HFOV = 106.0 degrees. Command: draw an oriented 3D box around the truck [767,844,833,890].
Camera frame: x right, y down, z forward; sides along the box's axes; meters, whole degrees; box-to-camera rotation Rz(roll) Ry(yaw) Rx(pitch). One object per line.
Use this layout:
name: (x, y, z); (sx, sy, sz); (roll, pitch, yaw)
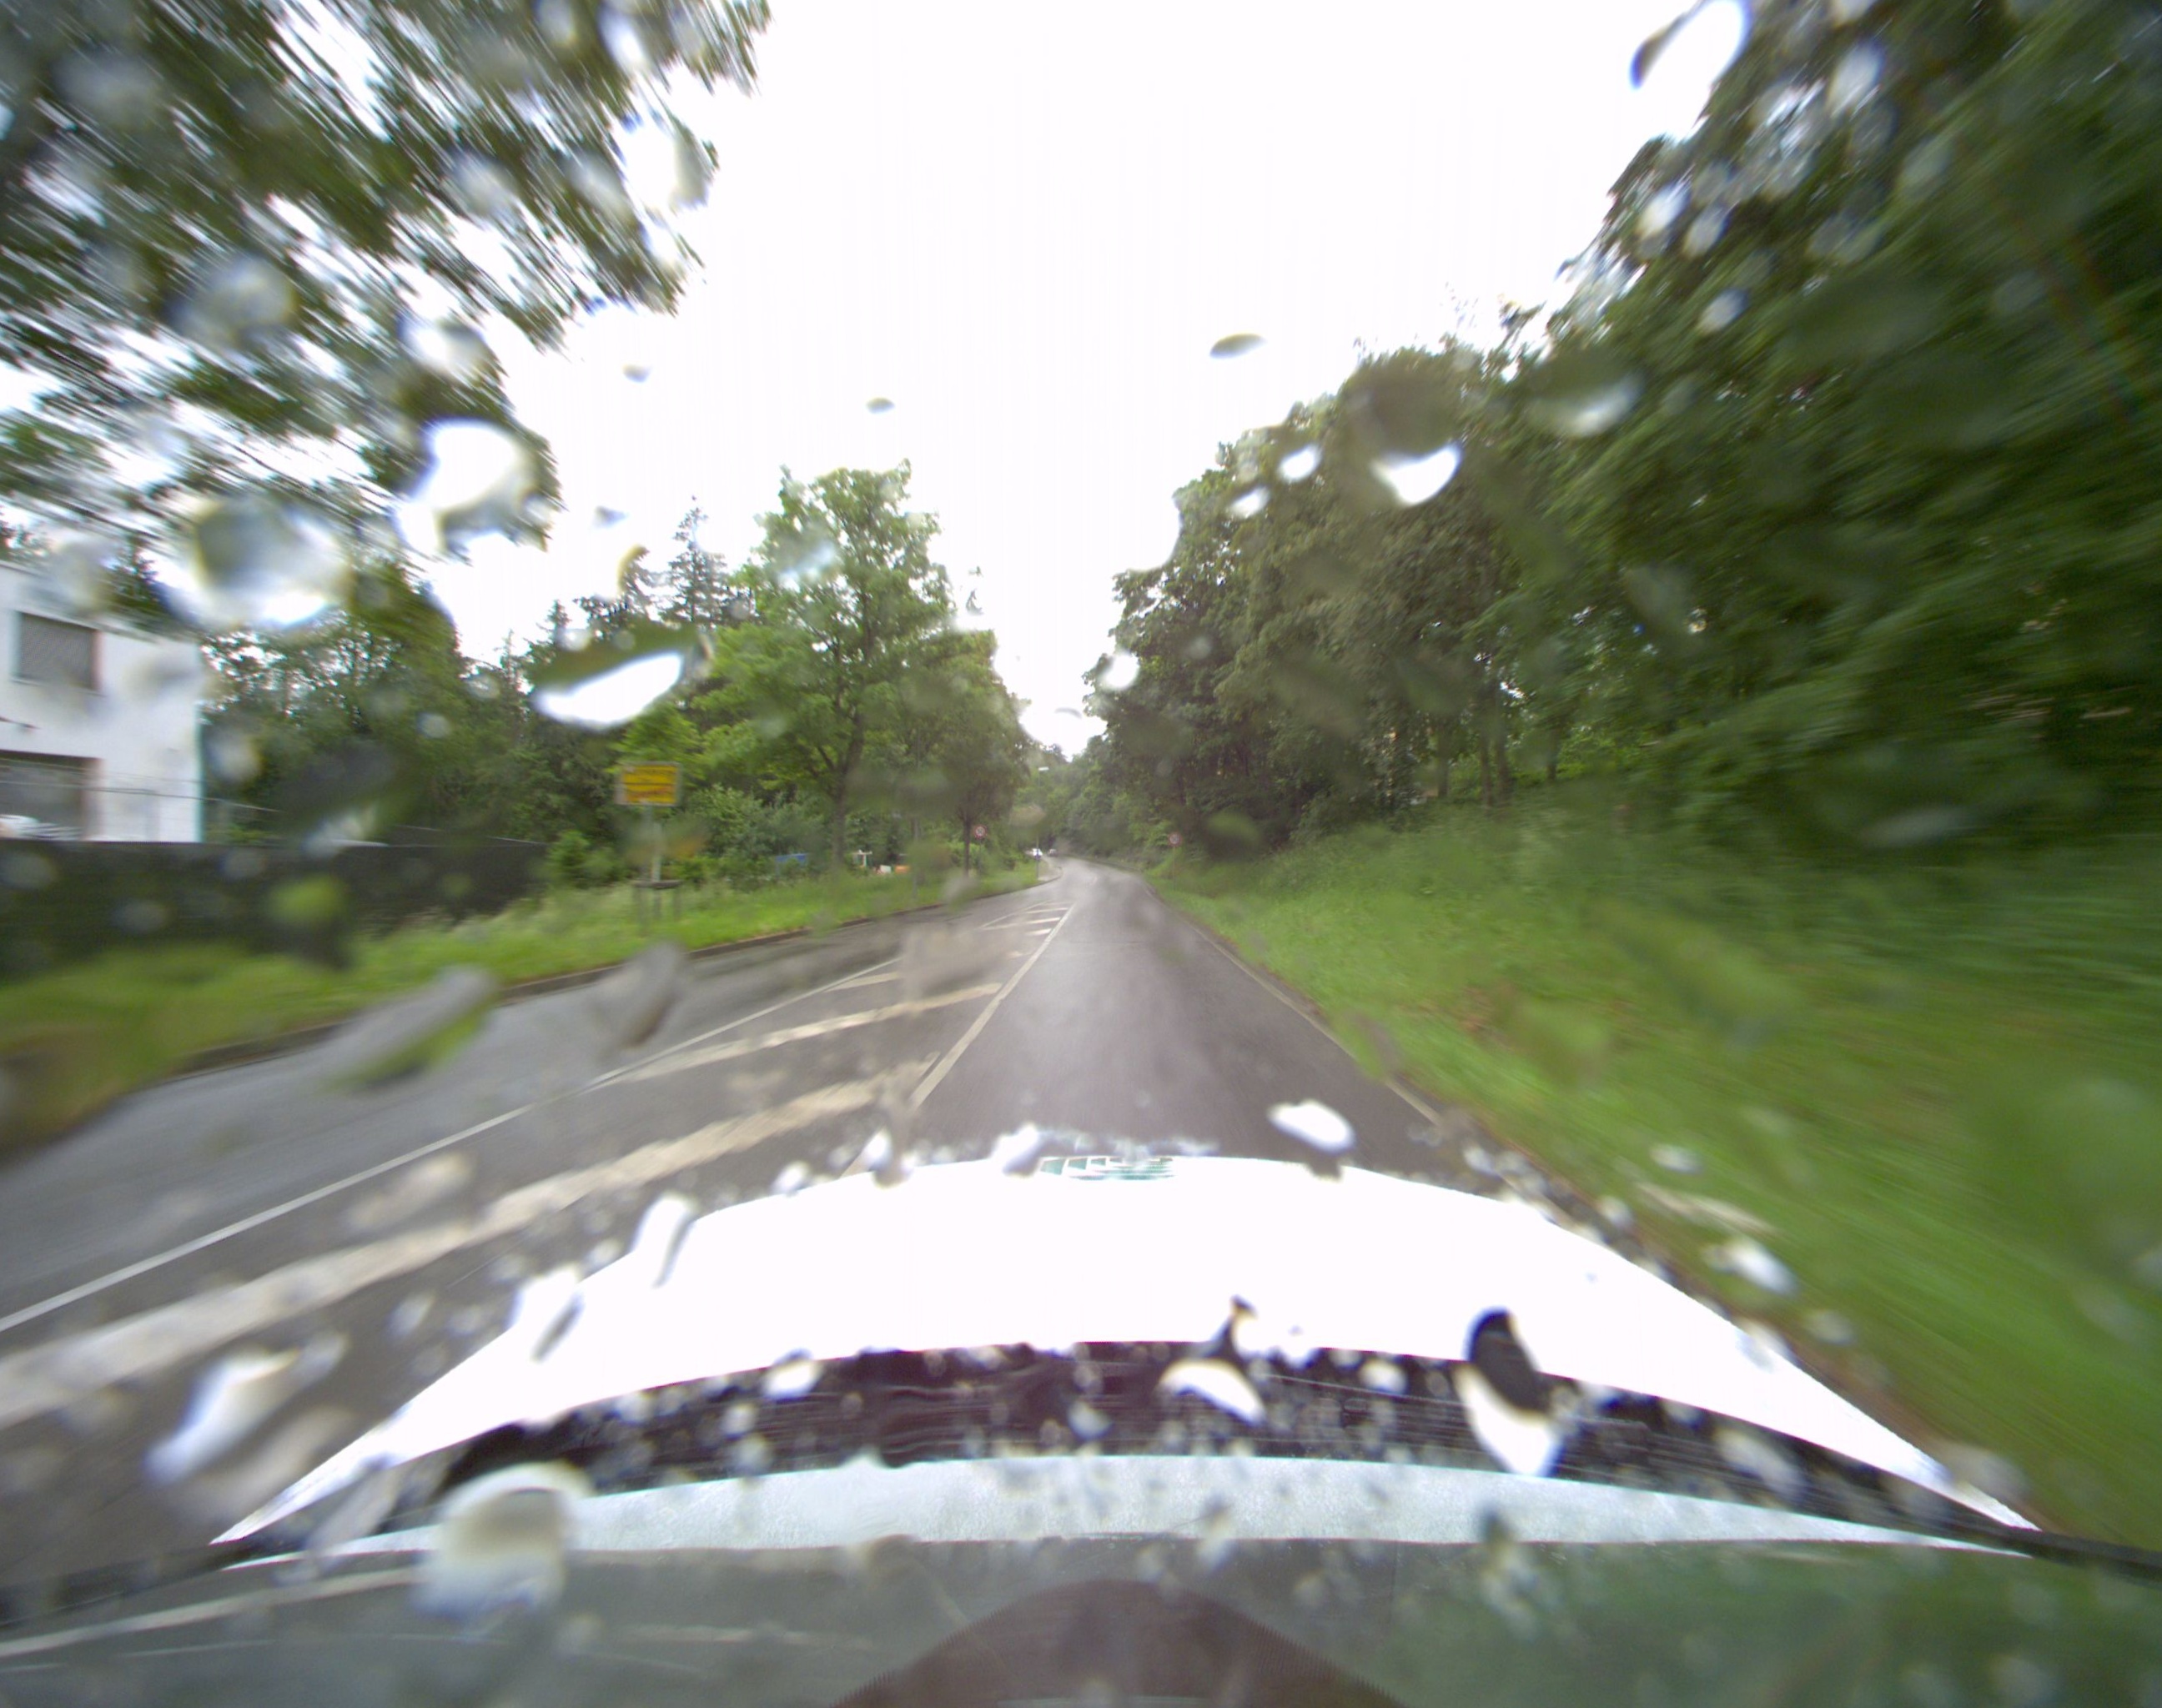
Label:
truck: (-16.177, 0.701, 47.195); (1.987, 2.458, 5.221); (1, 0, -1)

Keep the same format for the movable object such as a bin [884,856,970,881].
movable object such as a bin: (-12.184, 1.104, 65.367); (1.828, 1.908, 7.957); (-1, -1, 32)

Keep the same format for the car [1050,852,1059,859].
car: (-5.484, 0.353, 170.875); (1.731, 1.510, 3.999); (-2, 0, 0)

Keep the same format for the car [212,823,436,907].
car: (-23.301, 0.470, 25.461); (1.899, 1.917, 5.221); (0, -9, 0)

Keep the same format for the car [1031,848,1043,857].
car: (-9.087, -0.285, 168.514); (1.815, 1.648, 4.115); (-1, -1, -11)

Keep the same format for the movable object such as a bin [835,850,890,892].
movable object such as a bin: (-15.640, 1.192, 58.486); (1.978, 2.861, 4.017); (0, -1, 16)
